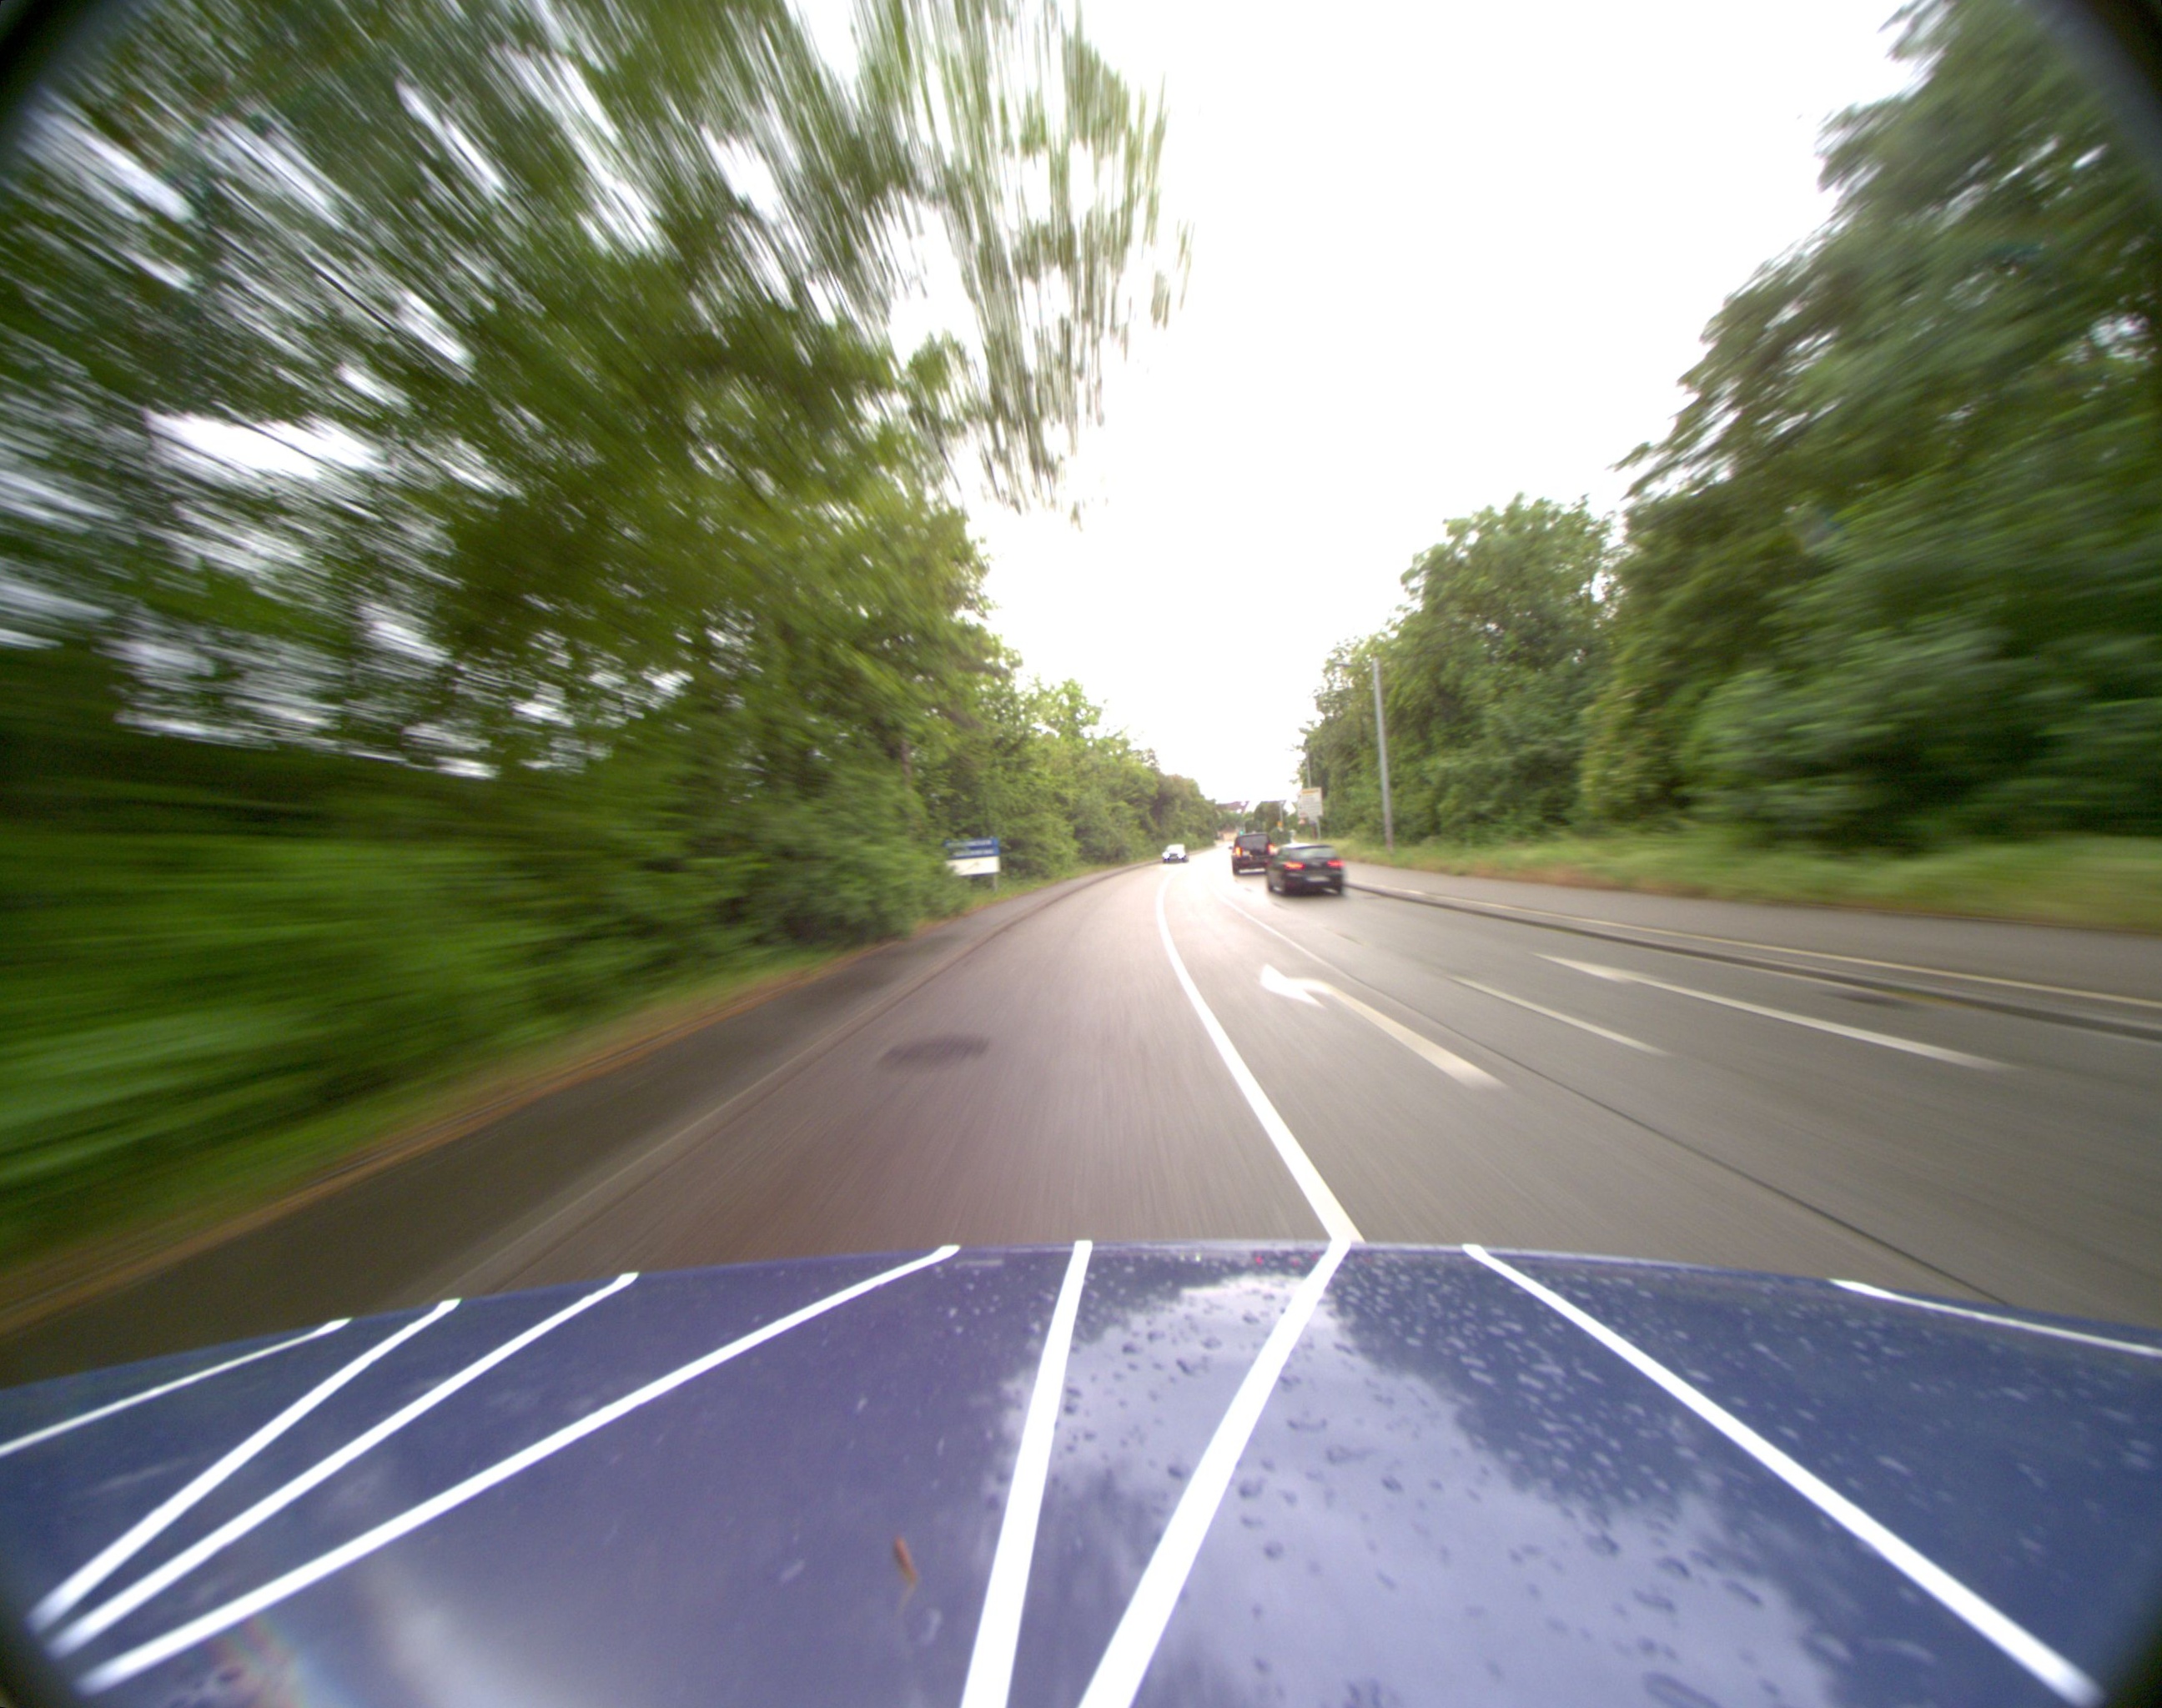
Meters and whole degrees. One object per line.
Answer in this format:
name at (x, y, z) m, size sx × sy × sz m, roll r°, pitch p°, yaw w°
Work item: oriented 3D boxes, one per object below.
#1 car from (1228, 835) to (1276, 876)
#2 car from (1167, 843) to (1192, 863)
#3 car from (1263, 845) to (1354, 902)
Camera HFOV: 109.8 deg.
car at (8.219, 0.096, 36.797) m, size 1.830 × 1.832 × 4.714 m, roll 1°, pitch 0°, yaw 8°
car at (7.928, -0.077, 60.891) m, size 1.830 × 1.511 × 4.004 m, roll 1°, pitch 0°, yaw 10°
car at (6.601, 0.543, 22.482) m, size 1.831 × 1.431 × 4.002 m, roll -4°, pitch -1°, yaw 7°
